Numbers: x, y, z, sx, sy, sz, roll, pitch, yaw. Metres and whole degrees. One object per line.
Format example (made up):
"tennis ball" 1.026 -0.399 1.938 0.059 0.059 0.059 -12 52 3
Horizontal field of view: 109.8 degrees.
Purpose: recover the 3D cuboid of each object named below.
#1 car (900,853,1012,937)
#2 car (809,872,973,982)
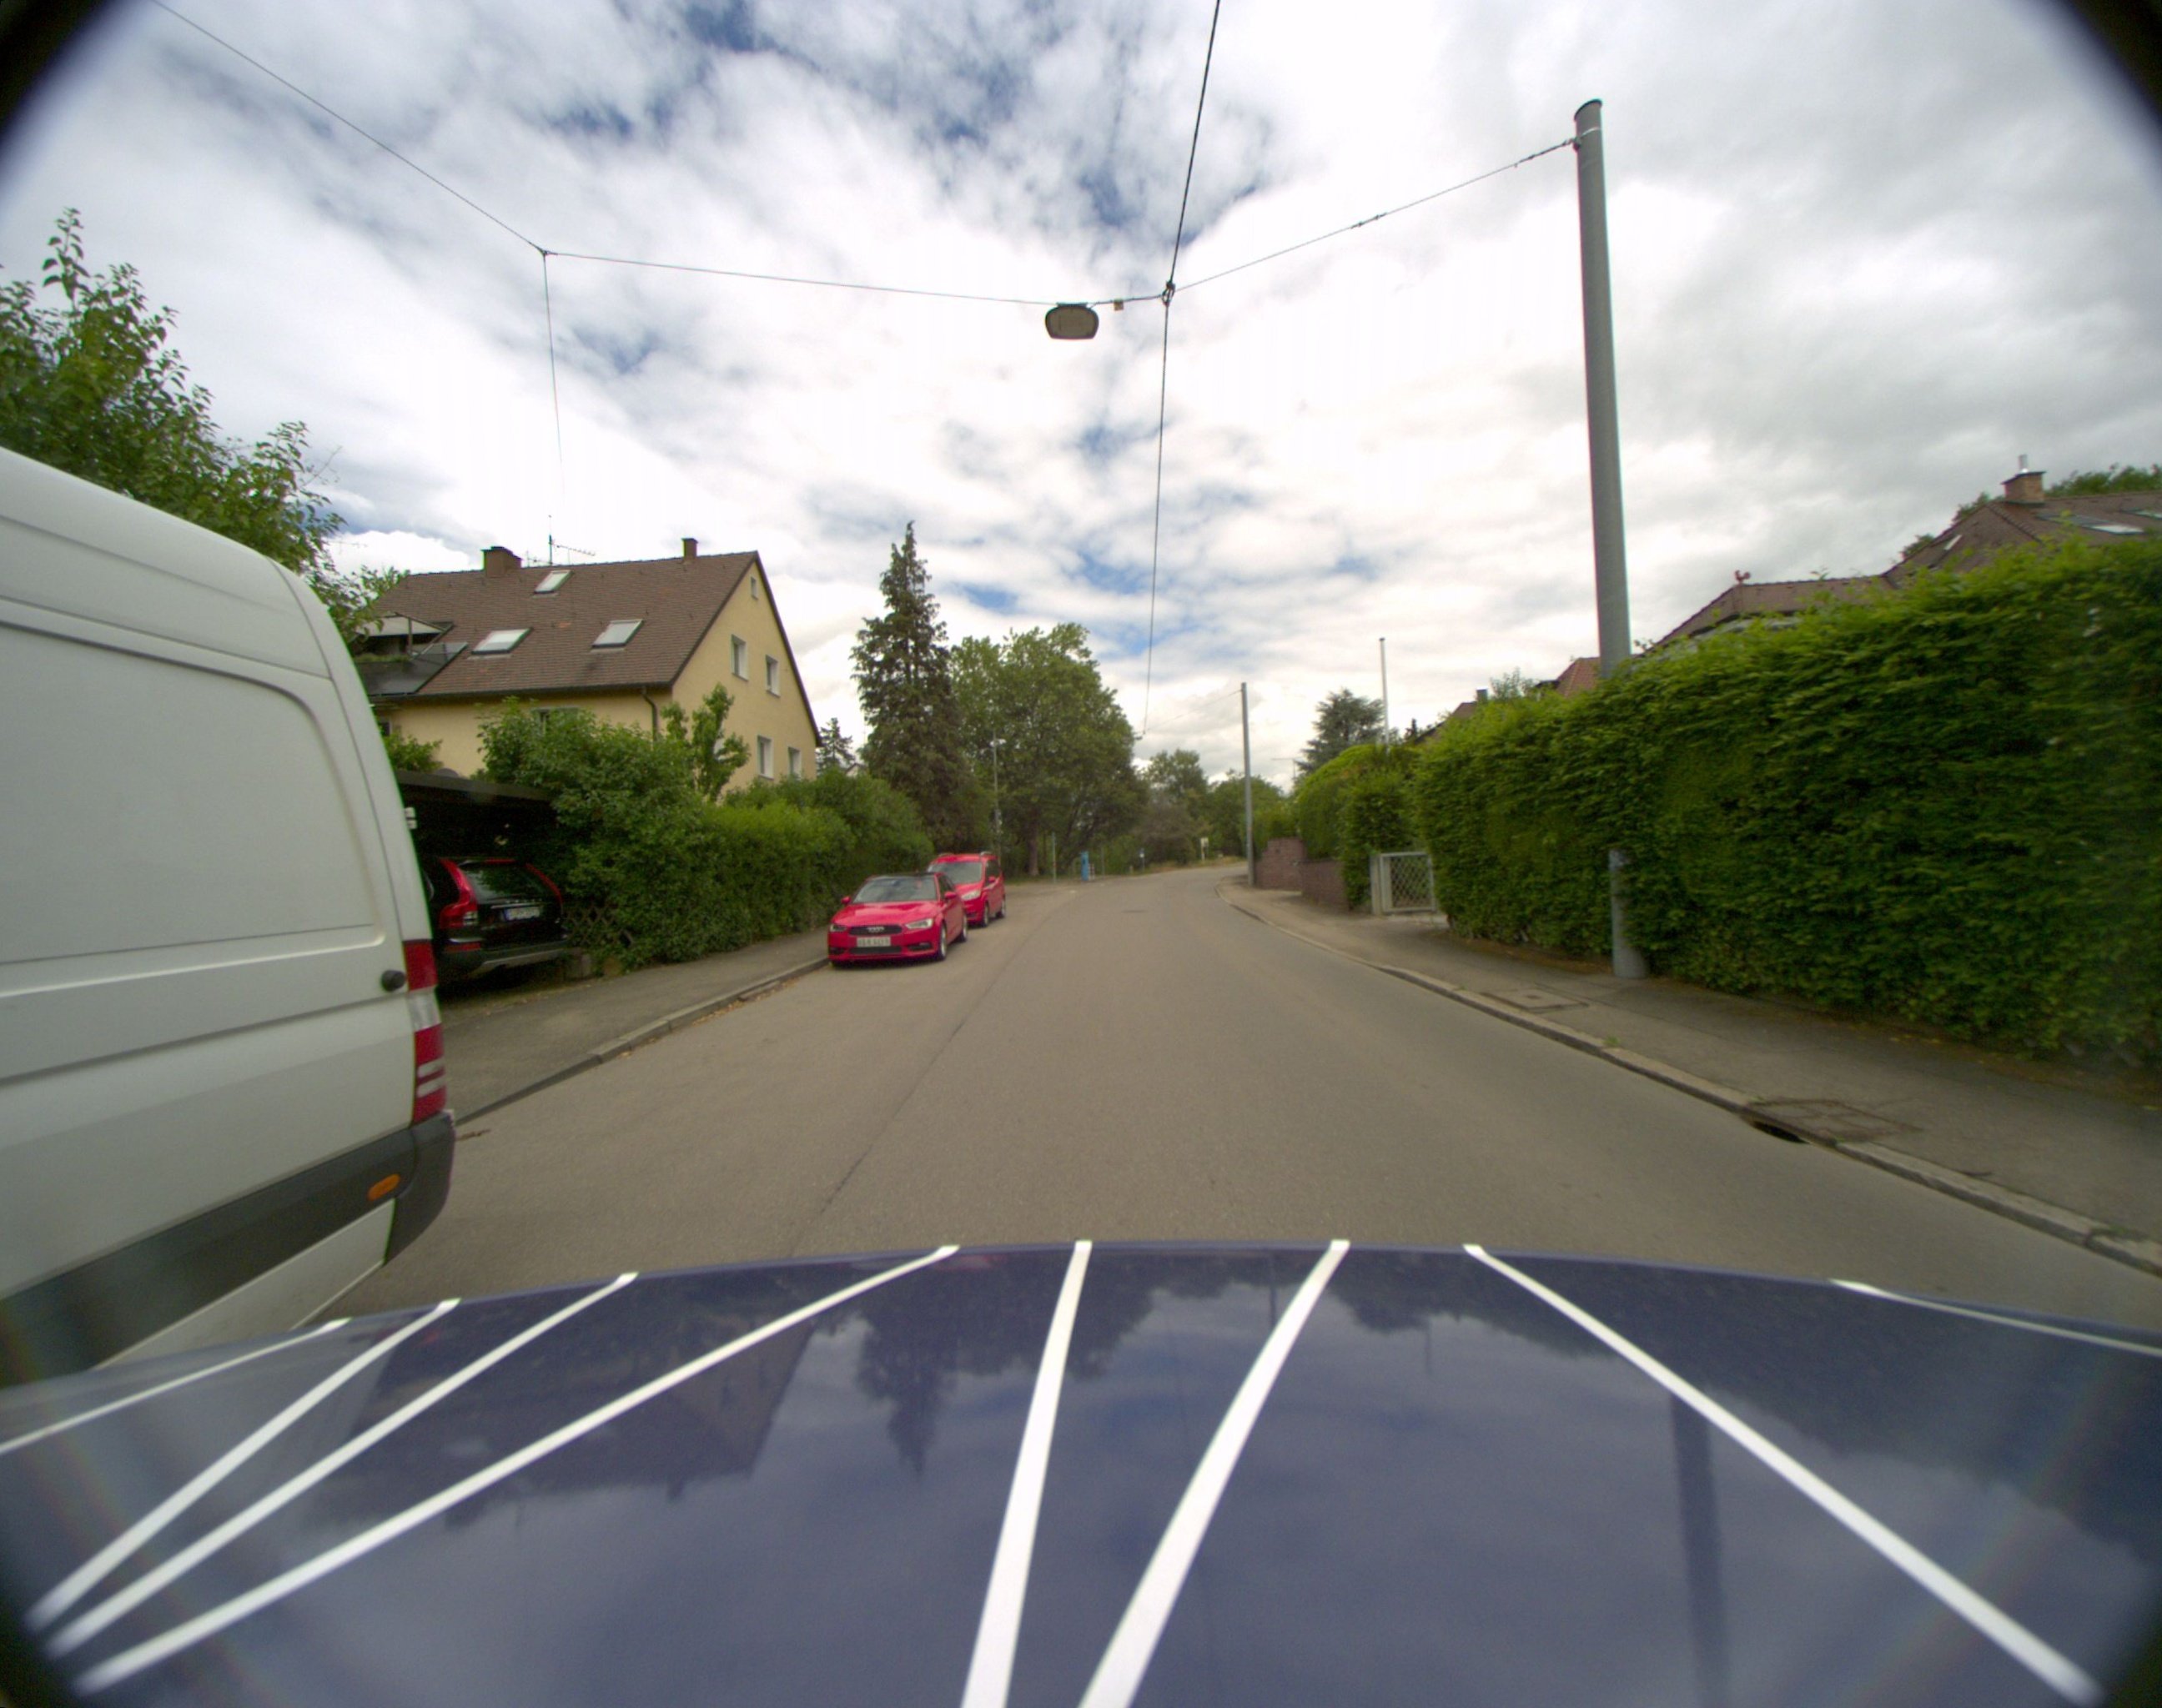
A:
"car" -2.934 0.907 18.734 1.771 1.755 4.163 -3 0 3
"car" -3.055 1.111 13.195 1.704 1.421 4.395 -3 0 0
